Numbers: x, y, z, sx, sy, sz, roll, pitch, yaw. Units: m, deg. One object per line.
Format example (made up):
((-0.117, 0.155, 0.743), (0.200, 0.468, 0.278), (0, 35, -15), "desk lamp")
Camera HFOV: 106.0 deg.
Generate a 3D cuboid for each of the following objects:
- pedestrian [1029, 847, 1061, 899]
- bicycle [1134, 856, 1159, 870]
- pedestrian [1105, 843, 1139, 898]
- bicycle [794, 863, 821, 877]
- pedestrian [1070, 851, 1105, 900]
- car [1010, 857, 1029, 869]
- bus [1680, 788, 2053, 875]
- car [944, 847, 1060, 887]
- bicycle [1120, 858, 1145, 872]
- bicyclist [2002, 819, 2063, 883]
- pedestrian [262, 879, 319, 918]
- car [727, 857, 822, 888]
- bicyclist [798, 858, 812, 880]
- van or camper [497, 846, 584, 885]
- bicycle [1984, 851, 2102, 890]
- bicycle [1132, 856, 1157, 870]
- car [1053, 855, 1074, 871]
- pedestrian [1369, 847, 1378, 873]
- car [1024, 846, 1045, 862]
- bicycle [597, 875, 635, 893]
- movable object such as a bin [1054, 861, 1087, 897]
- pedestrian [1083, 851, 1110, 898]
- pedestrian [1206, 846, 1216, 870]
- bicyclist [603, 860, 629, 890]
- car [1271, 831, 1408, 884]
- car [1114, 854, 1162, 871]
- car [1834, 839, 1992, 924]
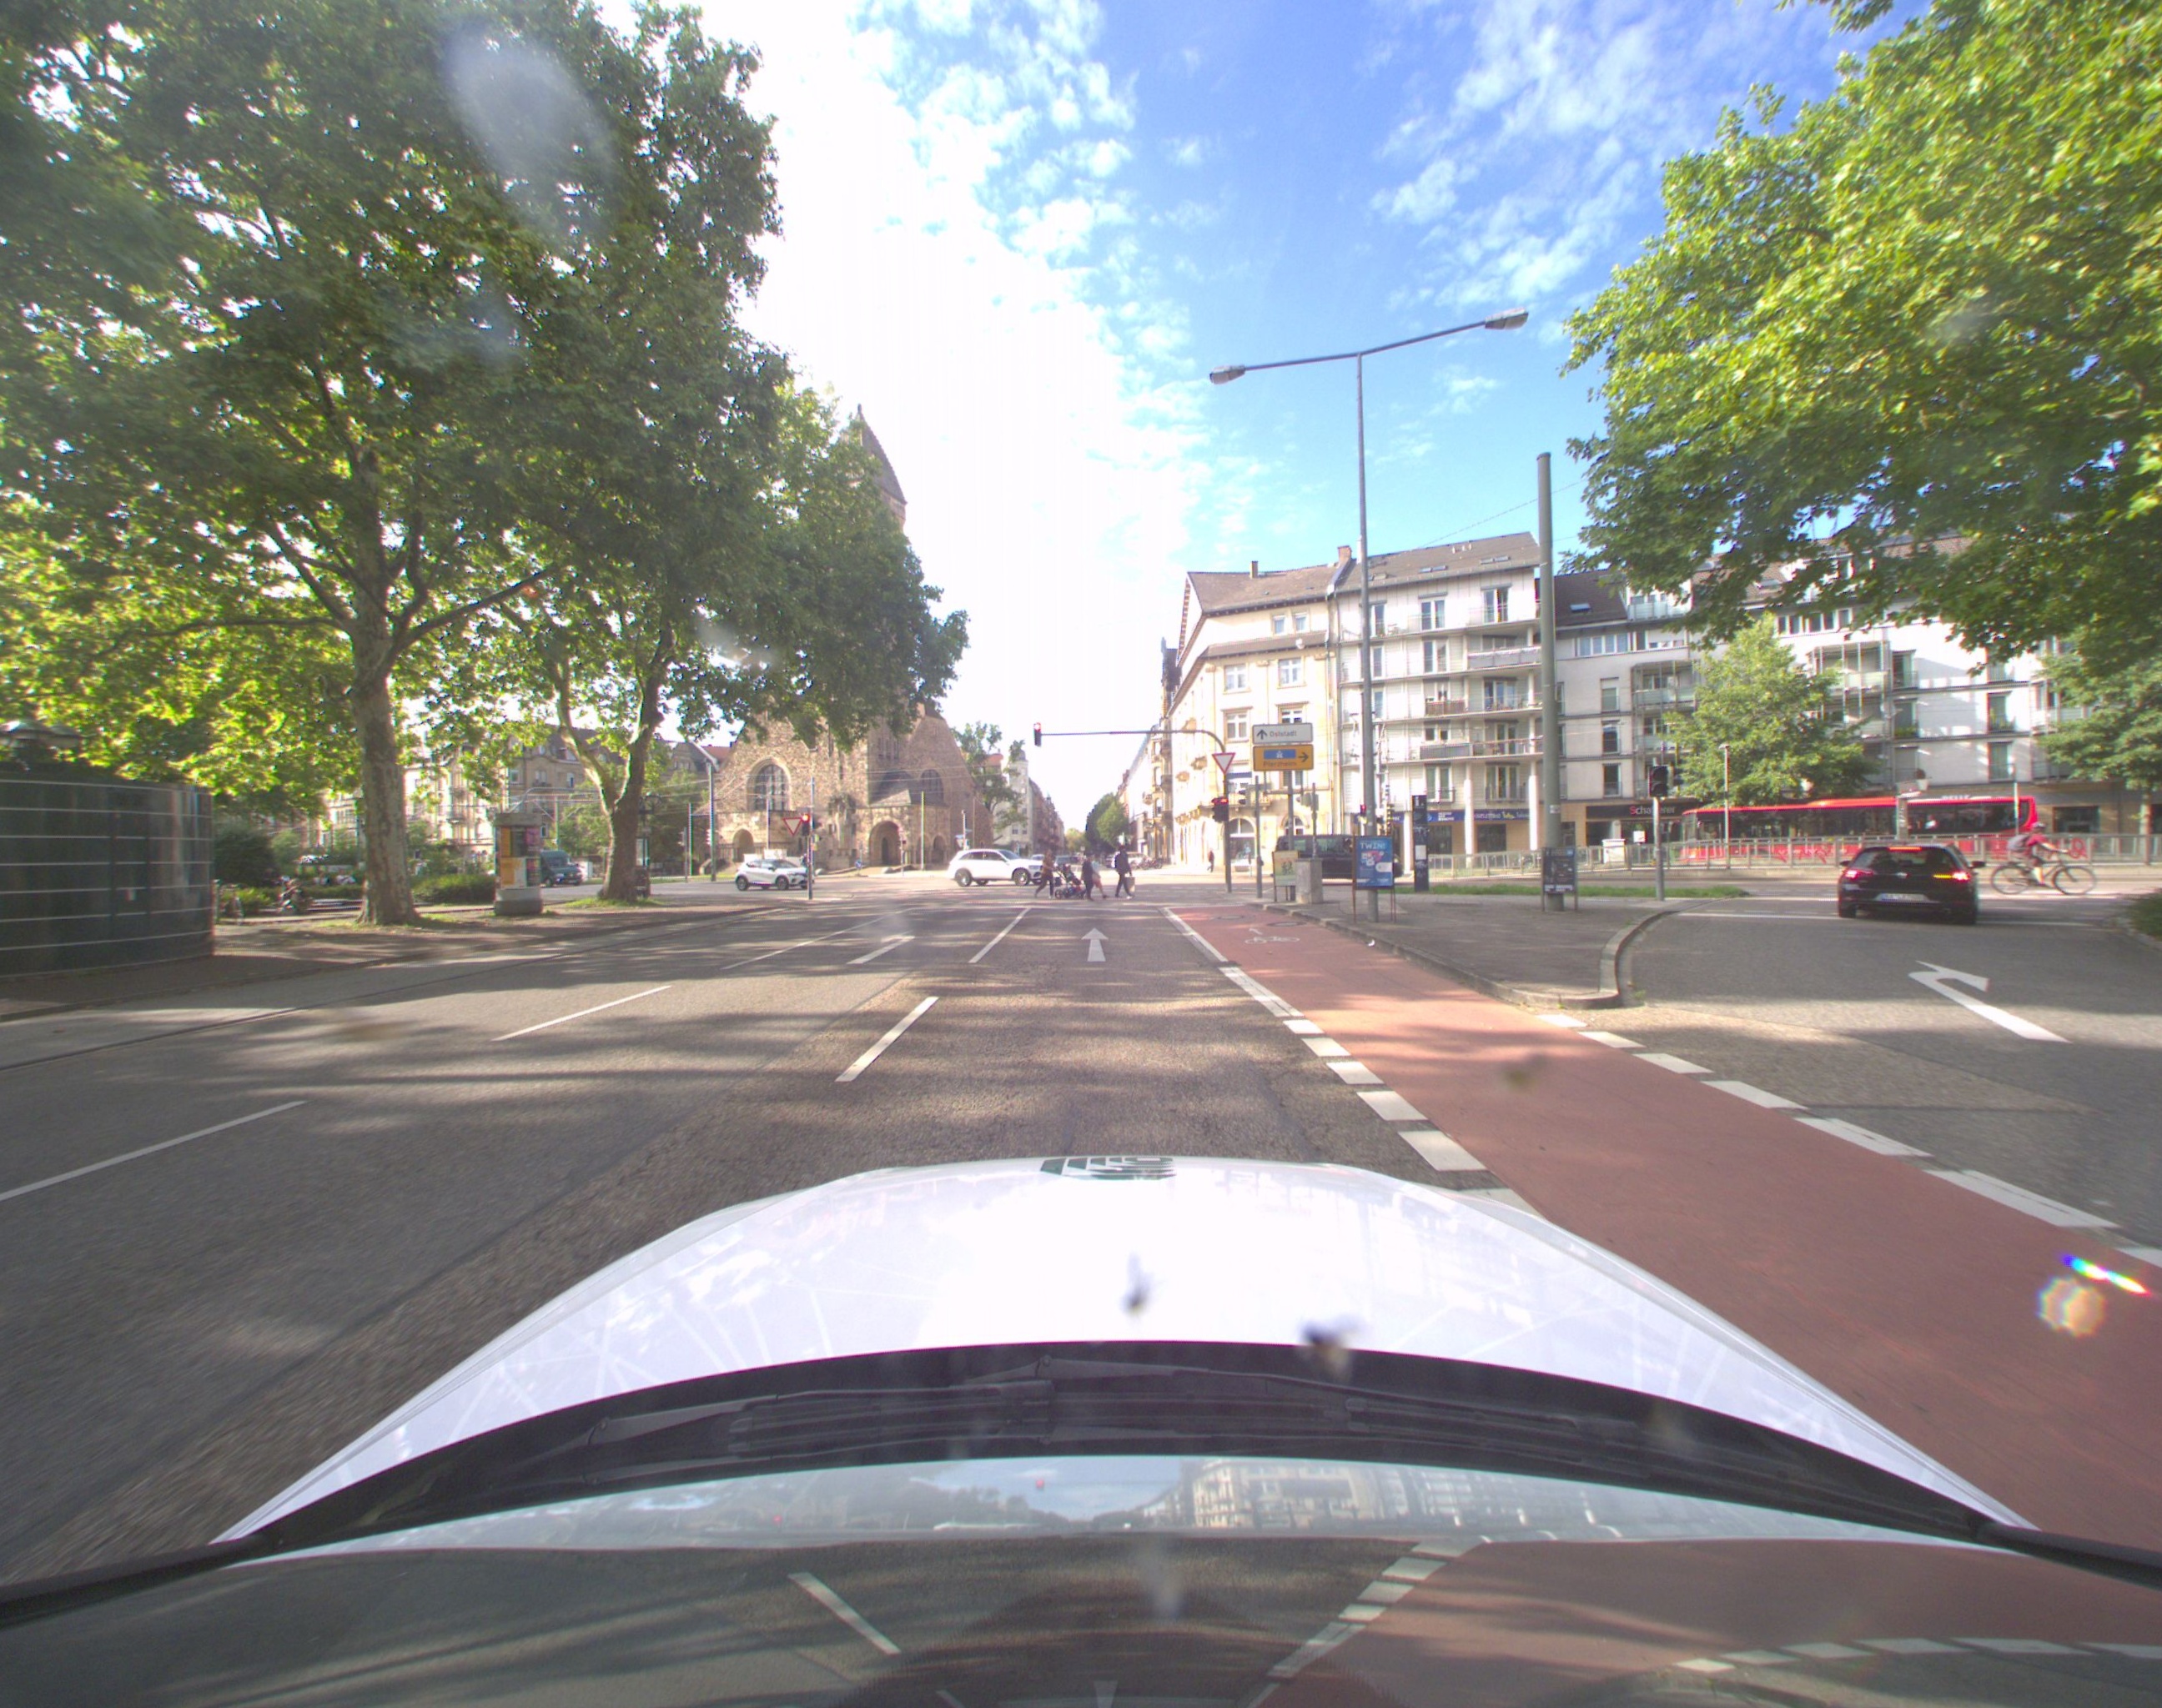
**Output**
((-1.147, 0.598, 26.068), (0.807, 1.629, 0.608), (-1, 0, 25), "pedestrian")
((5.594, 0.770, 69.507), (2.022, 1.082, 0.618), (-1, 0, -9), "bicycle")
((1.280, 0.502, 25.361), (0.774, 1.662, 0.783), (-1, 0, 23), "pedestrian")
((-20.926, 1.226, 62.362), (0.630, 0.980, 1.937), (-1, 0, 42), "bicycle")
((0.201, 0.637, 24.270), (0.774, 1.432, 0.735), (-1, 0, 23), "pedestrian")
((-7.738, 1.134, 103.155), (1.987, 1.497, 4.001), (-1, 0, 1), "car")
((35.631, -0.903, 37.865), (12.152, 3.548, 3.046), (-1, 0, 24), "bus")
((-3.492, 0.575, 36.178), (4.666, 1.683, 2.027), (-1, 0, 20), "car")
((4.395, 0.929, 69.489), (2.022, 1.082, 0.618), (-1, 0, -9), "bicycle")
((23.879, -0.076, 20.453), (0.771, 1.579, 0.629), (-1, 0, 26), "bicyclist")
((-21.207, 1.180, 21.859), (0.750, 0.979, 1.046), (-1, 0, 42), "pedestrian")
((-15.496, 0.926, 41.201), (4.212, 1.479, 1.908), (-1, 0, 20), "car")
((-21.050, 1.144, 62.176), (0.716, 1.662, 0.724), (-1, 0, 42), "bicyclist")
((-35.205, 0.724, 53.050), (5.403, 2.434, 2.197), (-1, 0, 25), "van or camper")
((24.031, 0.418, 20.389), (1.813, 0.955, 0.576), (-1, 0, 27), "bicycle")
((5.496, 0.769, 70.180), (2.022, 1.082, 0.629), (-1, 0, -9), "bicycle")
((-1.702, 0.862, 79.695), (1.942, 1.372, 4.000), (-1, 0, 1), "car")
((18.937, 0.385, 52.711), (0.491, 1.714, 0.530), (1, 0, 25), "pedestrian")
((-5.135, 0.015, 90.667), (1.942, 1.750, 4.000), (-1, 0, 1), "car")
((-23.867, 1.543, 41.779), (1.707, 0.876, 0.709), (-1, 0, 19), "bicycle")
((-0.327, 0.788, 25.691), (0.830, 1.123, 0.578), (-1, 0, 24), "movable object such as a bin")
((0.482, 0.621, 24.841), (0.649, 1.432, 0.501), (-1, 0, 23), "pedestrian")
((9.192, 0.285, 57.707), (0.557, 1.623, 0.603), (-1, 0, 22), "pedestrian")
((-23.860, 1.065, 41.777), (0.874, 1.503, 0.719), (-1, 0, 19), "bicyclist")
((9.863, 0.141, 31.130), (4.802, 1.871, 2.042), (-1, 0, 20), "car")
((5.021, 0.719, 71.864), (3.977, 1.420, 1.998), (-1, 0, -3), "car")
((15.852, 0.444, 15.457), (4.020, 1.413, 1.737), (0, 0, -39), "car")
